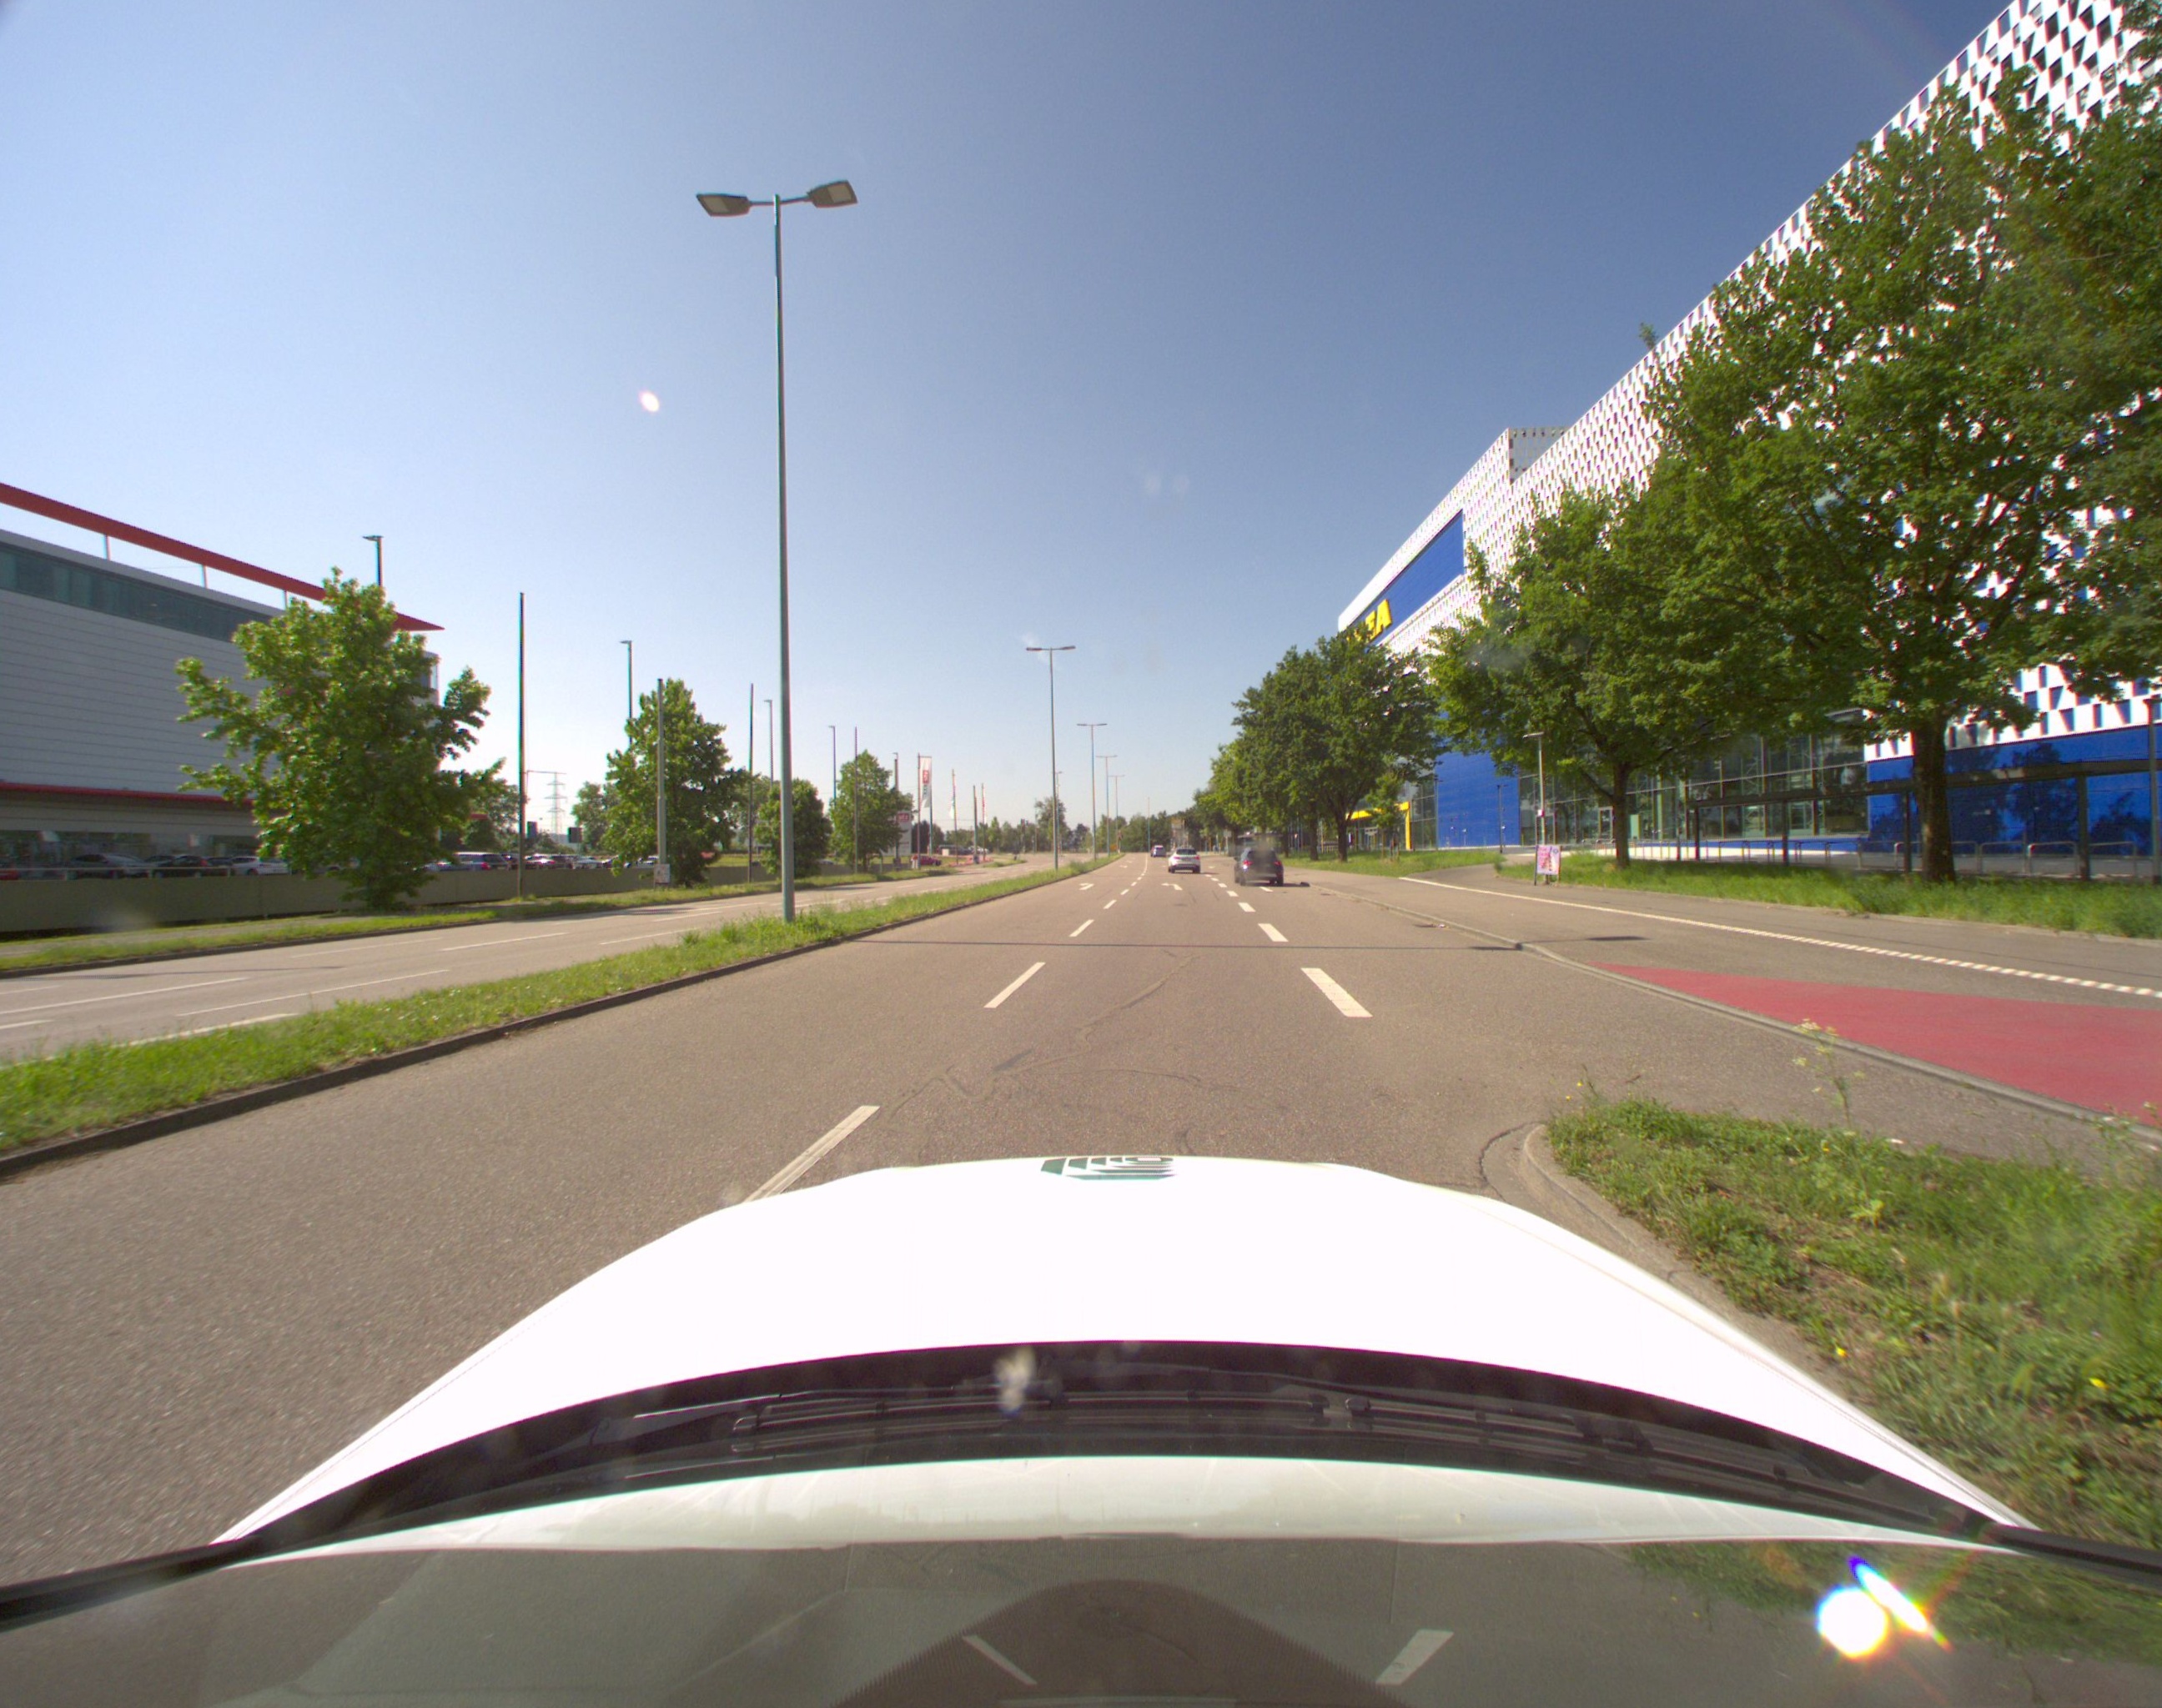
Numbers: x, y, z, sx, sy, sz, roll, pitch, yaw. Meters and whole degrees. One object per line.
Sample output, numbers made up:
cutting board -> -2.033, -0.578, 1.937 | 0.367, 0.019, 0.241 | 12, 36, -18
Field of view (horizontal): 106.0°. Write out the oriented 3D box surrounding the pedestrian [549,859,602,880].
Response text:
pedestrian -> -50.030, 1.545, 80.690 | 1.974, 2.014, 4.025 | -2, -1, 35

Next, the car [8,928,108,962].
car -> -33.572, 2.989, 26.745 | 1.930, 0.975, 1.071 | -1, -1, 1

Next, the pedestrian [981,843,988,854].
pedestrian -> -15.395, -0.840, 129.729 | 0.833, 1.707, 0.909 | -2, 0, 16

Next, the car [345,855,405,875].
car -> -51.400, 0.806, 59.321 | 3.074, 1.330, 1.517 | -1, -1, 3

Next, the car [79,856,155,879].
car -> -57.649, 0.793, 48.732 | 3.121, 1.330, 1.302 | -1, -1, 3

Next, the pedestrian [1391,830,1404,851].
pedestrian -> 25.020, -1.056, 64.436 | 0.685, 1.612, 0.771 | -2, 1, 1

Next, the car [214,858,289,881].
car -> -52.318, 0.976, 51.399 | 3.074, 1.330, 1.705 | -1, -1, 3

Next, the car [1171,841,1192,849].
car -> 20.368, -1.829, 165.659 | 4.059, 1.547, 1.800 | -1, 0, 0

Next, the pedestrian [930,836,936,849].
pedestrian -> -24.102, -1.849, 132.604 | 0.712, 1.972, 0.920 | -1, -1, 9

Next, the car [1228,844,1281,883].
car -> 7.063, 0.339, 33.434 | 1.662, 1.523, 3.380 | 0, 1, 4

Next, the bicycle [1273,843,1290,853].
bicycle -> 22.670, -0.646, 92.217 | 1.750, 1.096, 0.453 | -2, 1, 4

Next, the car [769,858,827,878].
car -> -24.817, 1.242, 71.490 | 4.395, 1.627, 1.872 | -1, -1, 2

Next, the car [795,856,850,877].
car -> -24.377, 1.190, 76.882 | 4.393, 1.842, 1.947 | -1, 0, 3

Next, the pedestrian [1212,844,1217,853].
pedestrian -> 22.559, -0.992, 137.452 | 0.767, 1.510, 1.012 | -1, 2, 15

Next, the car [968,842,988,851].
car -> -18.357, -1.282, 145.332 | 3.372, 1.500, 1.410 | -1, -1, 2

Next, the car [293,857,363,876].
car -> -51.655, 0.841, 55.879 | 3.484, 1.199, 1.482 | -1, -1, 3

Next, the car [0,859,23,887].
car -> -53.708, 0.933, 39.368 | 3.200, 1.330, 1.517 | -1, -1, 3

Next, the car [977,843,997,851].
car -> -17.180, -1.279, 148.901 | 3.332, 1.500, 1.409 | -1, -1, 0

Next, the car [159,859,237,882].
car -> -52.815, 0.981, 48.742 | 3.074, 1.330, 1.517 | -1, -1, 3

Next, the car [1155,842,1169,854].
car -> 11.156, -0.822, 112.097 | 1.699, 1.573, 4.178 | -2, 1, 3

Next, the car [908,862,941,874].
car -> -21.837, 1.905, 113.876 | 4.170, 1.605, 1.826 | -1, -1, -1

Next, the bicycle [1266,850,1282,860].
bicycle -> 23.296, 0.094, 98.290 | 1.750, 1.096, 0.453 | -2, 1, 4

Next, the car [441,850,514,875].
car -> -27.317, 0.397, 36.904 | 2.503, 1.059, 1.071 | -1, -1, 1

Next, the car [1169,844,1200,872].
car -> 6.204, 0.198, 49.122 | 1.624, 1.497, 3.874 | 0, 3, 3

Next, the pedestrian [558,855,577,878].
pedestrian -> -45.444, 1.107, 72.054 | 0.854, 2.013, 1.027 | -2, 0, 18

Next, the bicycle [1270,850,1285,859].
bicycle -> 23.937, 0.045, 99.349 | 1.750, 1.096, 0.453 | -2, 1, 4
